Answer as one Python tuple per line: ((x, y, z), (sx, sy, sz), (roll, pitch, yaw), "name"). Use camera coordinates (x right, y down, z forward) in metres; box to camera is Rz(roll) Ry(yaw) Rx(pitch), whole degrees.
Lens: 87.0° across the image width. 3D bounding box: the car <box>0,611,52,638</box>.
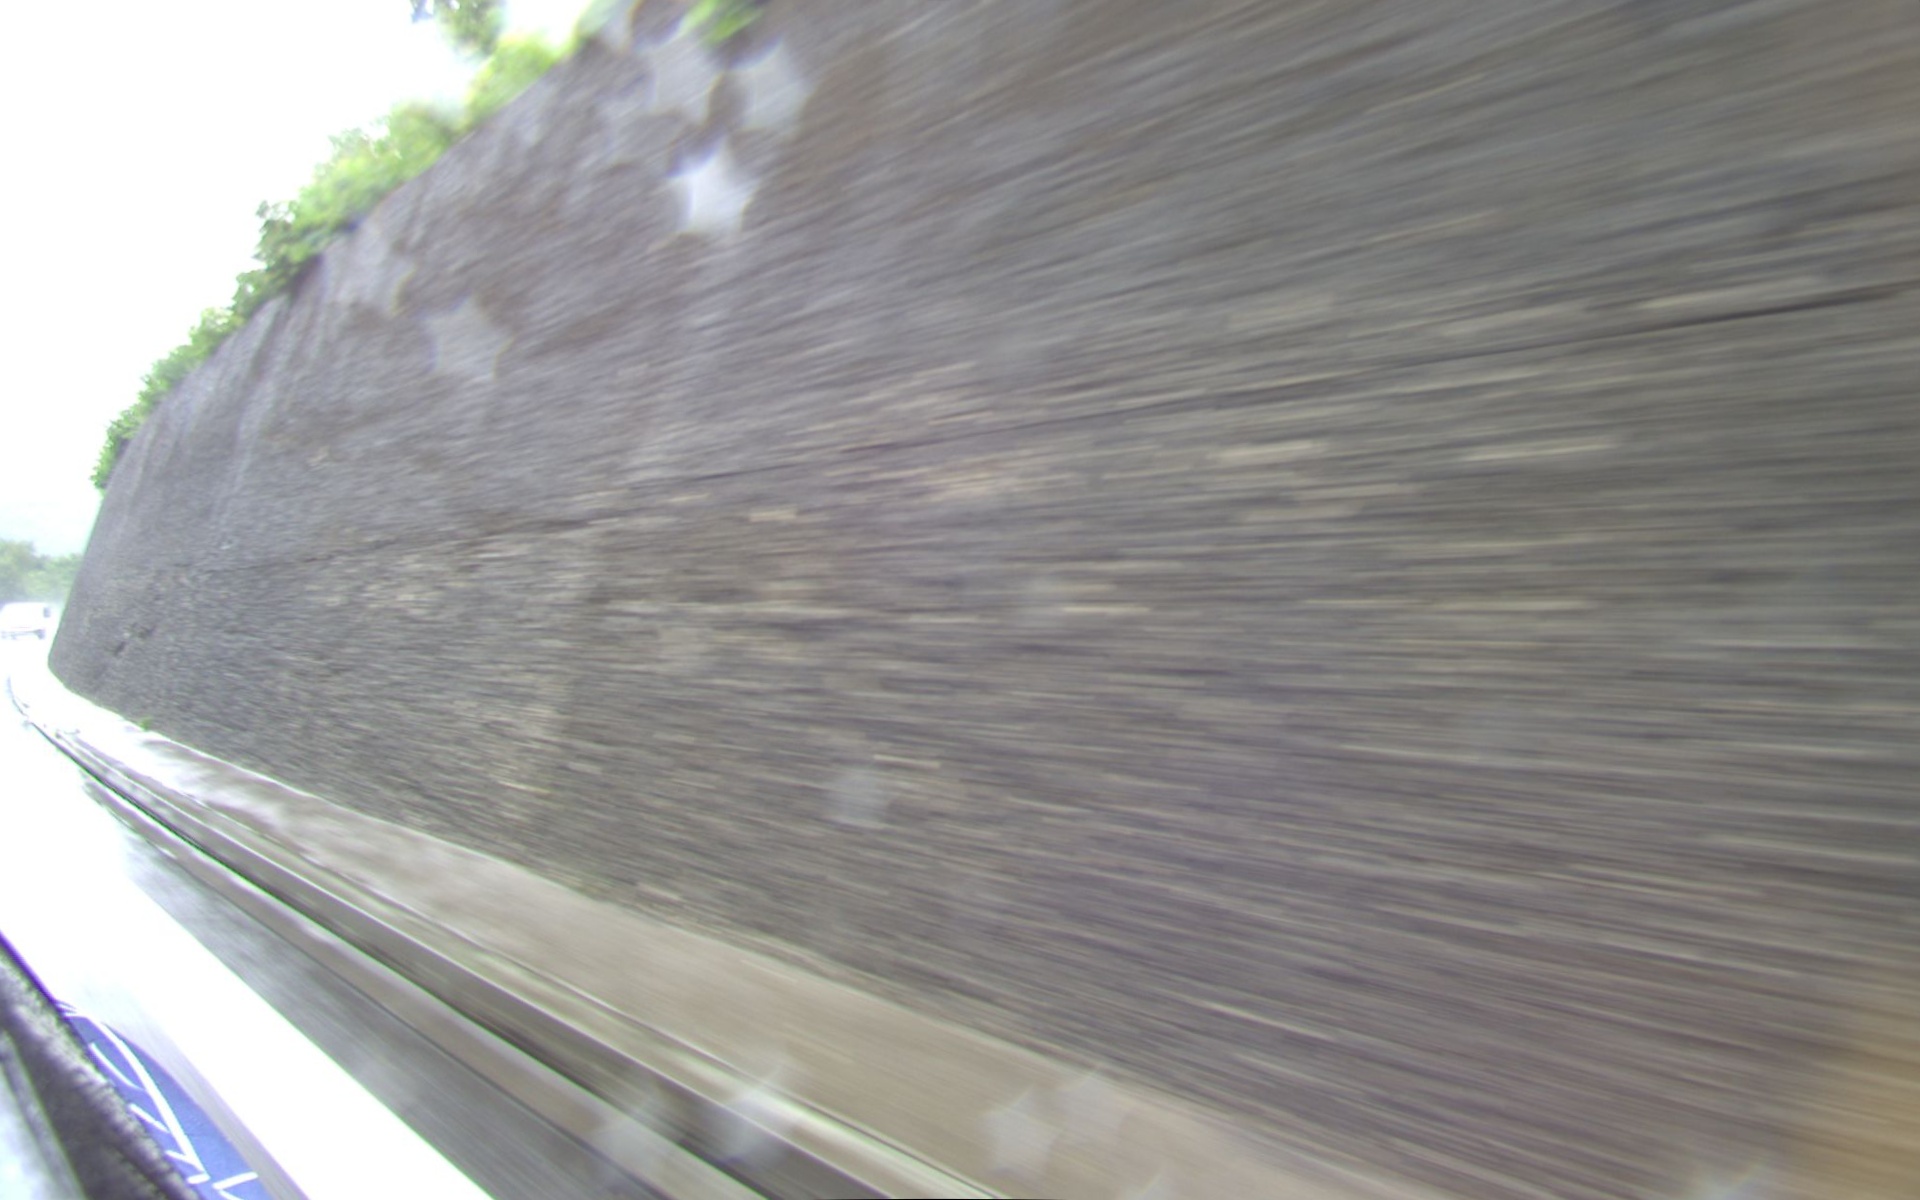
((-53.251, 1.398, 57.547), (1.798, 1.393, 4.011), (-3, 1, -34), "car")
